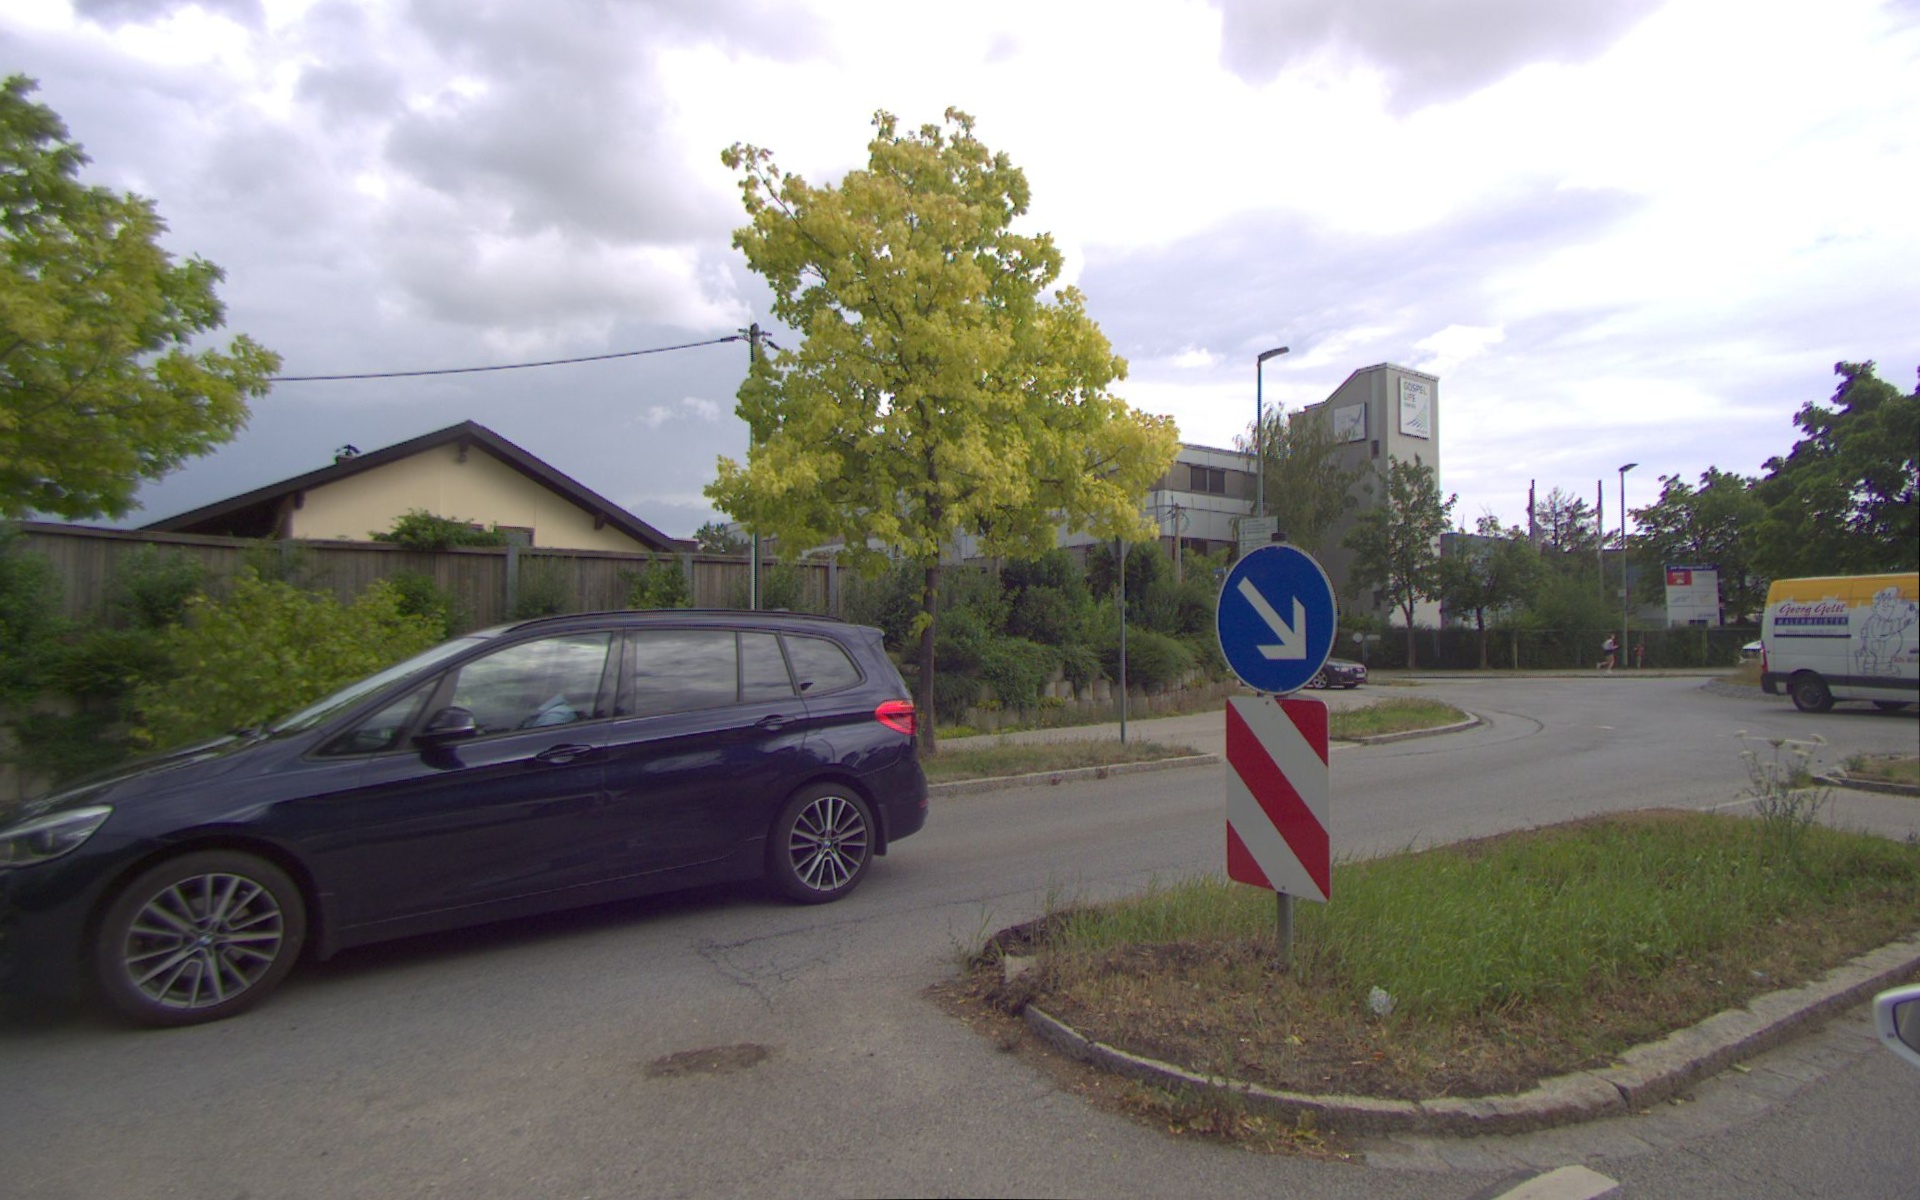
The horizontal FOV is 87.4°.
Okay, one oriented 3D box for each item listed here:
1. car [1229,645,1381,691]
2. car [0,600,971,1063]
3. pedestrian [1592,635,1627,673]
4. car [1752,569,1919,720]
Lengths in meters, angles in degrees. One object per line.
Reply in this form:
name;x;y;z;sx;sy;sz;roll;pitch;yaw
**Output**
car;11.168;2.199;32.771;1.916;1.365;4.429;0;-3;-34
car;-2.177;0.901;5.500;4.315;1.606;1.726;1;-5;-37
pedestrian;25.643;2.122;39.659;0.931;1.487;0.632;-1;-2;-5
car;16.801;0.735;16.912;2.129;2.484;5.438;-1;-3;-7
